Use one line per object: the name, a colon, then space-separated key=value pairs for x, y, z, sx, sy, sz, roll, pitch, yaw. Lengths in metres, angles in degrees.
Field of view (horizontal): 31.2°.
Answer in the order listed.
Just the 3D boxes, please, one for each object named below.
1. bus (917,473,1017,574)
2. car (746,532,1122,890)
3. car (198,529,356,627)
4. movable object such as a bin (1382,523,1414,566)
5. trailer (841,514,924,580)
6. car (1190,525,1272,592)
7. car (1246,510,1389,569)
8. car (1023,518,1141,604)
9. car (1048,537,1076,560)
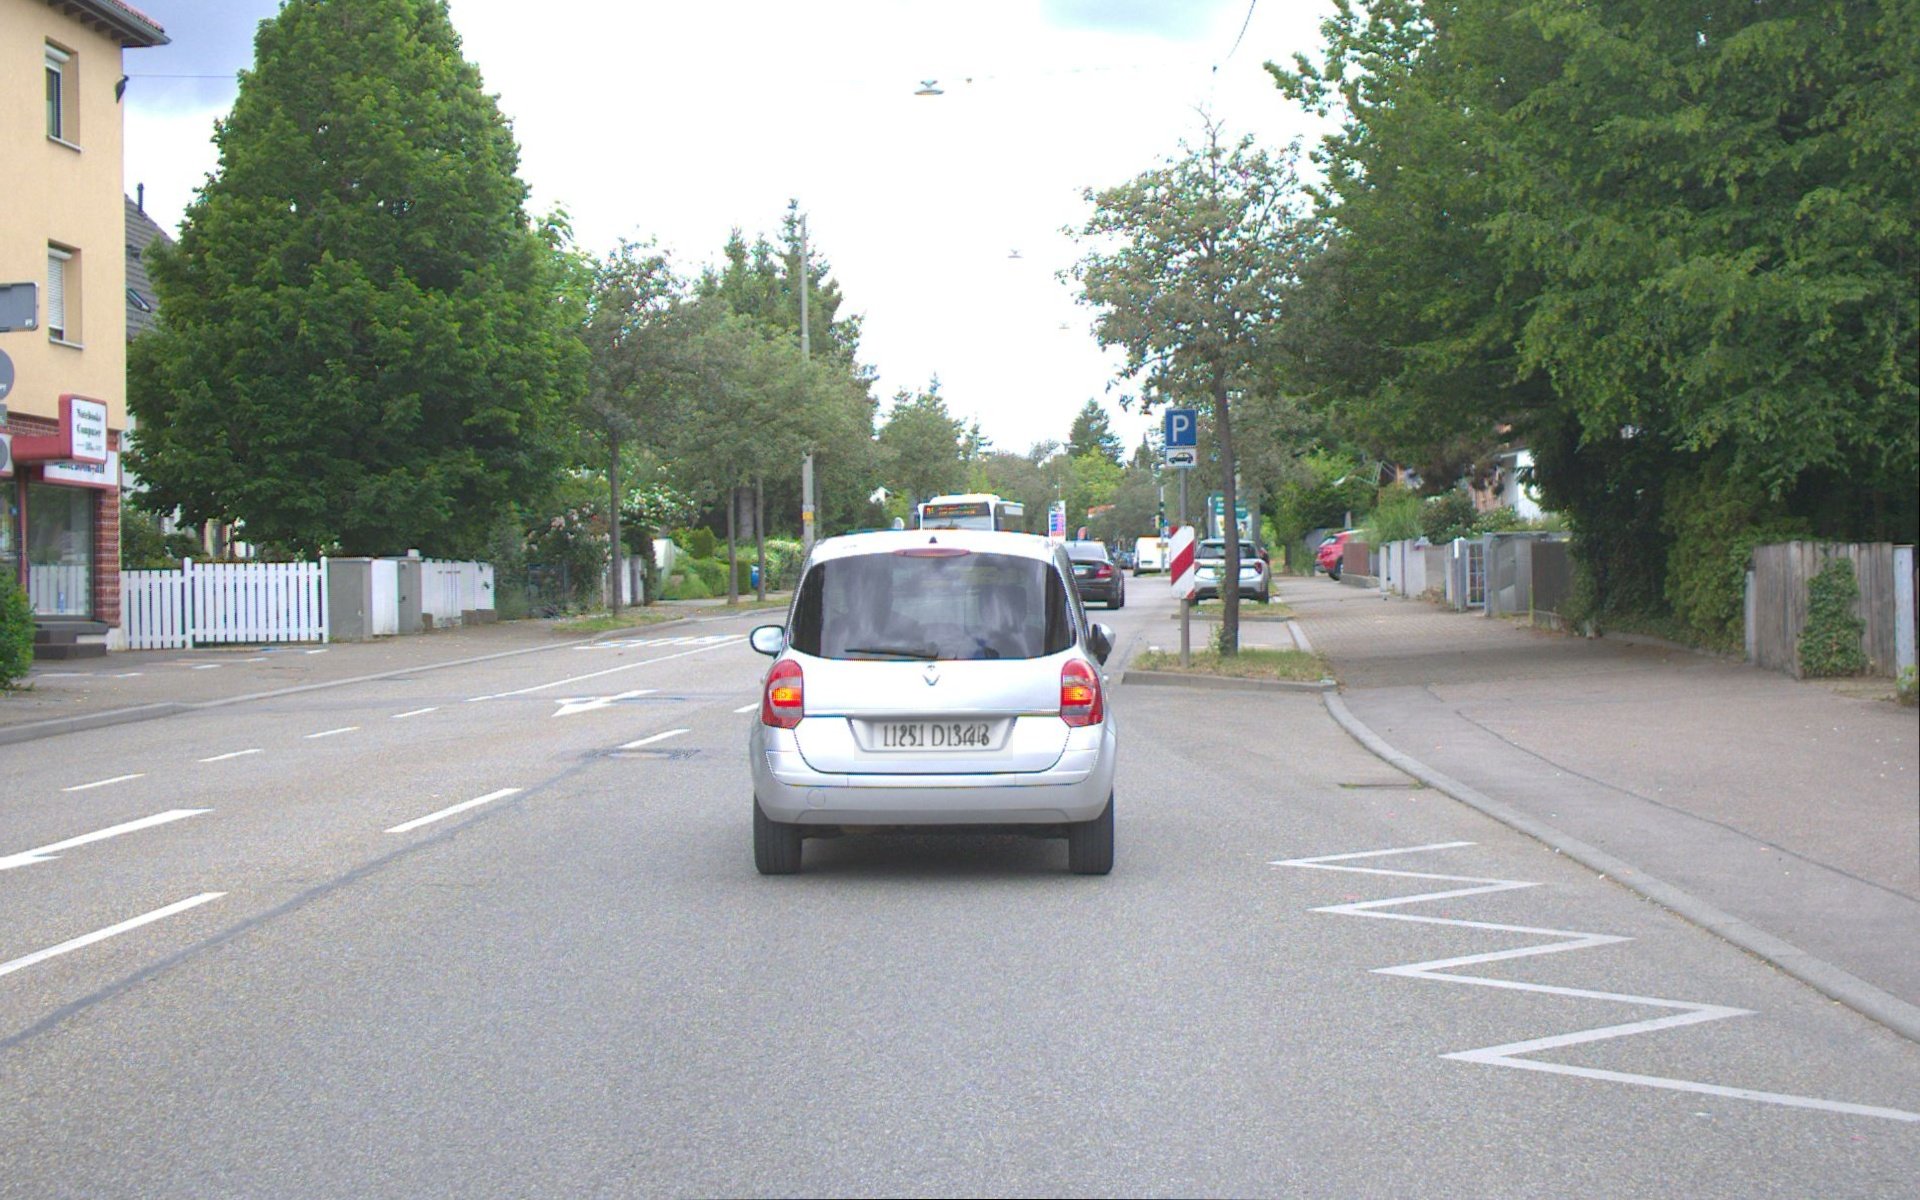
bus: x=0.322 y=-2.538 z=114.275 sx=2.632 sy=3.075 sz=12.069 roll=-3 pitch=1 yaw=3
car: x=-0.094 y=0.477 z=16.982 sx=1.630 sy=1.551 sz=4.000 roll=0 pitch=0 yaw=1
car: x=-12.193 y=-0.427 z=61.630 sx=1.806 sy=1.559 sz=4.618 roll=-3 pitch=1 yaw=0
movable object such as a bin: x=11.458 y=-1.459 z=89.914 sx=0.776 sy=1.100 sz=0.691 roll=-1 pitch=1 yaw=4
trailer: x=-2.493 y=-1.693 z=112.356 sx=2.312 sy=2.079 sz=5.872 roll=0 pitch=0 yaw=3
car: x=5.724 y=-0.855 z=72.528 sx=1.650 sy=1.378 sz=3.999 roll=0 pitch=0 yaw=5
car: x=10.886 y=-1.837 z=104.752 sx=3.986 sy=1.491 sz=1.810 roll=-4 pitch=1 yaw=-4
car: x=2.531 y=-0.812 z=70.554 sx=1.830 sy=1.670 sz=3.573 roll=-1 pitch=1 yaw=11
car: x=7.478 y=-3.801 z=252.949 sx=1.905 sy=1.612 sz=4.000 roll=0 pitch=0 yaw=-1
